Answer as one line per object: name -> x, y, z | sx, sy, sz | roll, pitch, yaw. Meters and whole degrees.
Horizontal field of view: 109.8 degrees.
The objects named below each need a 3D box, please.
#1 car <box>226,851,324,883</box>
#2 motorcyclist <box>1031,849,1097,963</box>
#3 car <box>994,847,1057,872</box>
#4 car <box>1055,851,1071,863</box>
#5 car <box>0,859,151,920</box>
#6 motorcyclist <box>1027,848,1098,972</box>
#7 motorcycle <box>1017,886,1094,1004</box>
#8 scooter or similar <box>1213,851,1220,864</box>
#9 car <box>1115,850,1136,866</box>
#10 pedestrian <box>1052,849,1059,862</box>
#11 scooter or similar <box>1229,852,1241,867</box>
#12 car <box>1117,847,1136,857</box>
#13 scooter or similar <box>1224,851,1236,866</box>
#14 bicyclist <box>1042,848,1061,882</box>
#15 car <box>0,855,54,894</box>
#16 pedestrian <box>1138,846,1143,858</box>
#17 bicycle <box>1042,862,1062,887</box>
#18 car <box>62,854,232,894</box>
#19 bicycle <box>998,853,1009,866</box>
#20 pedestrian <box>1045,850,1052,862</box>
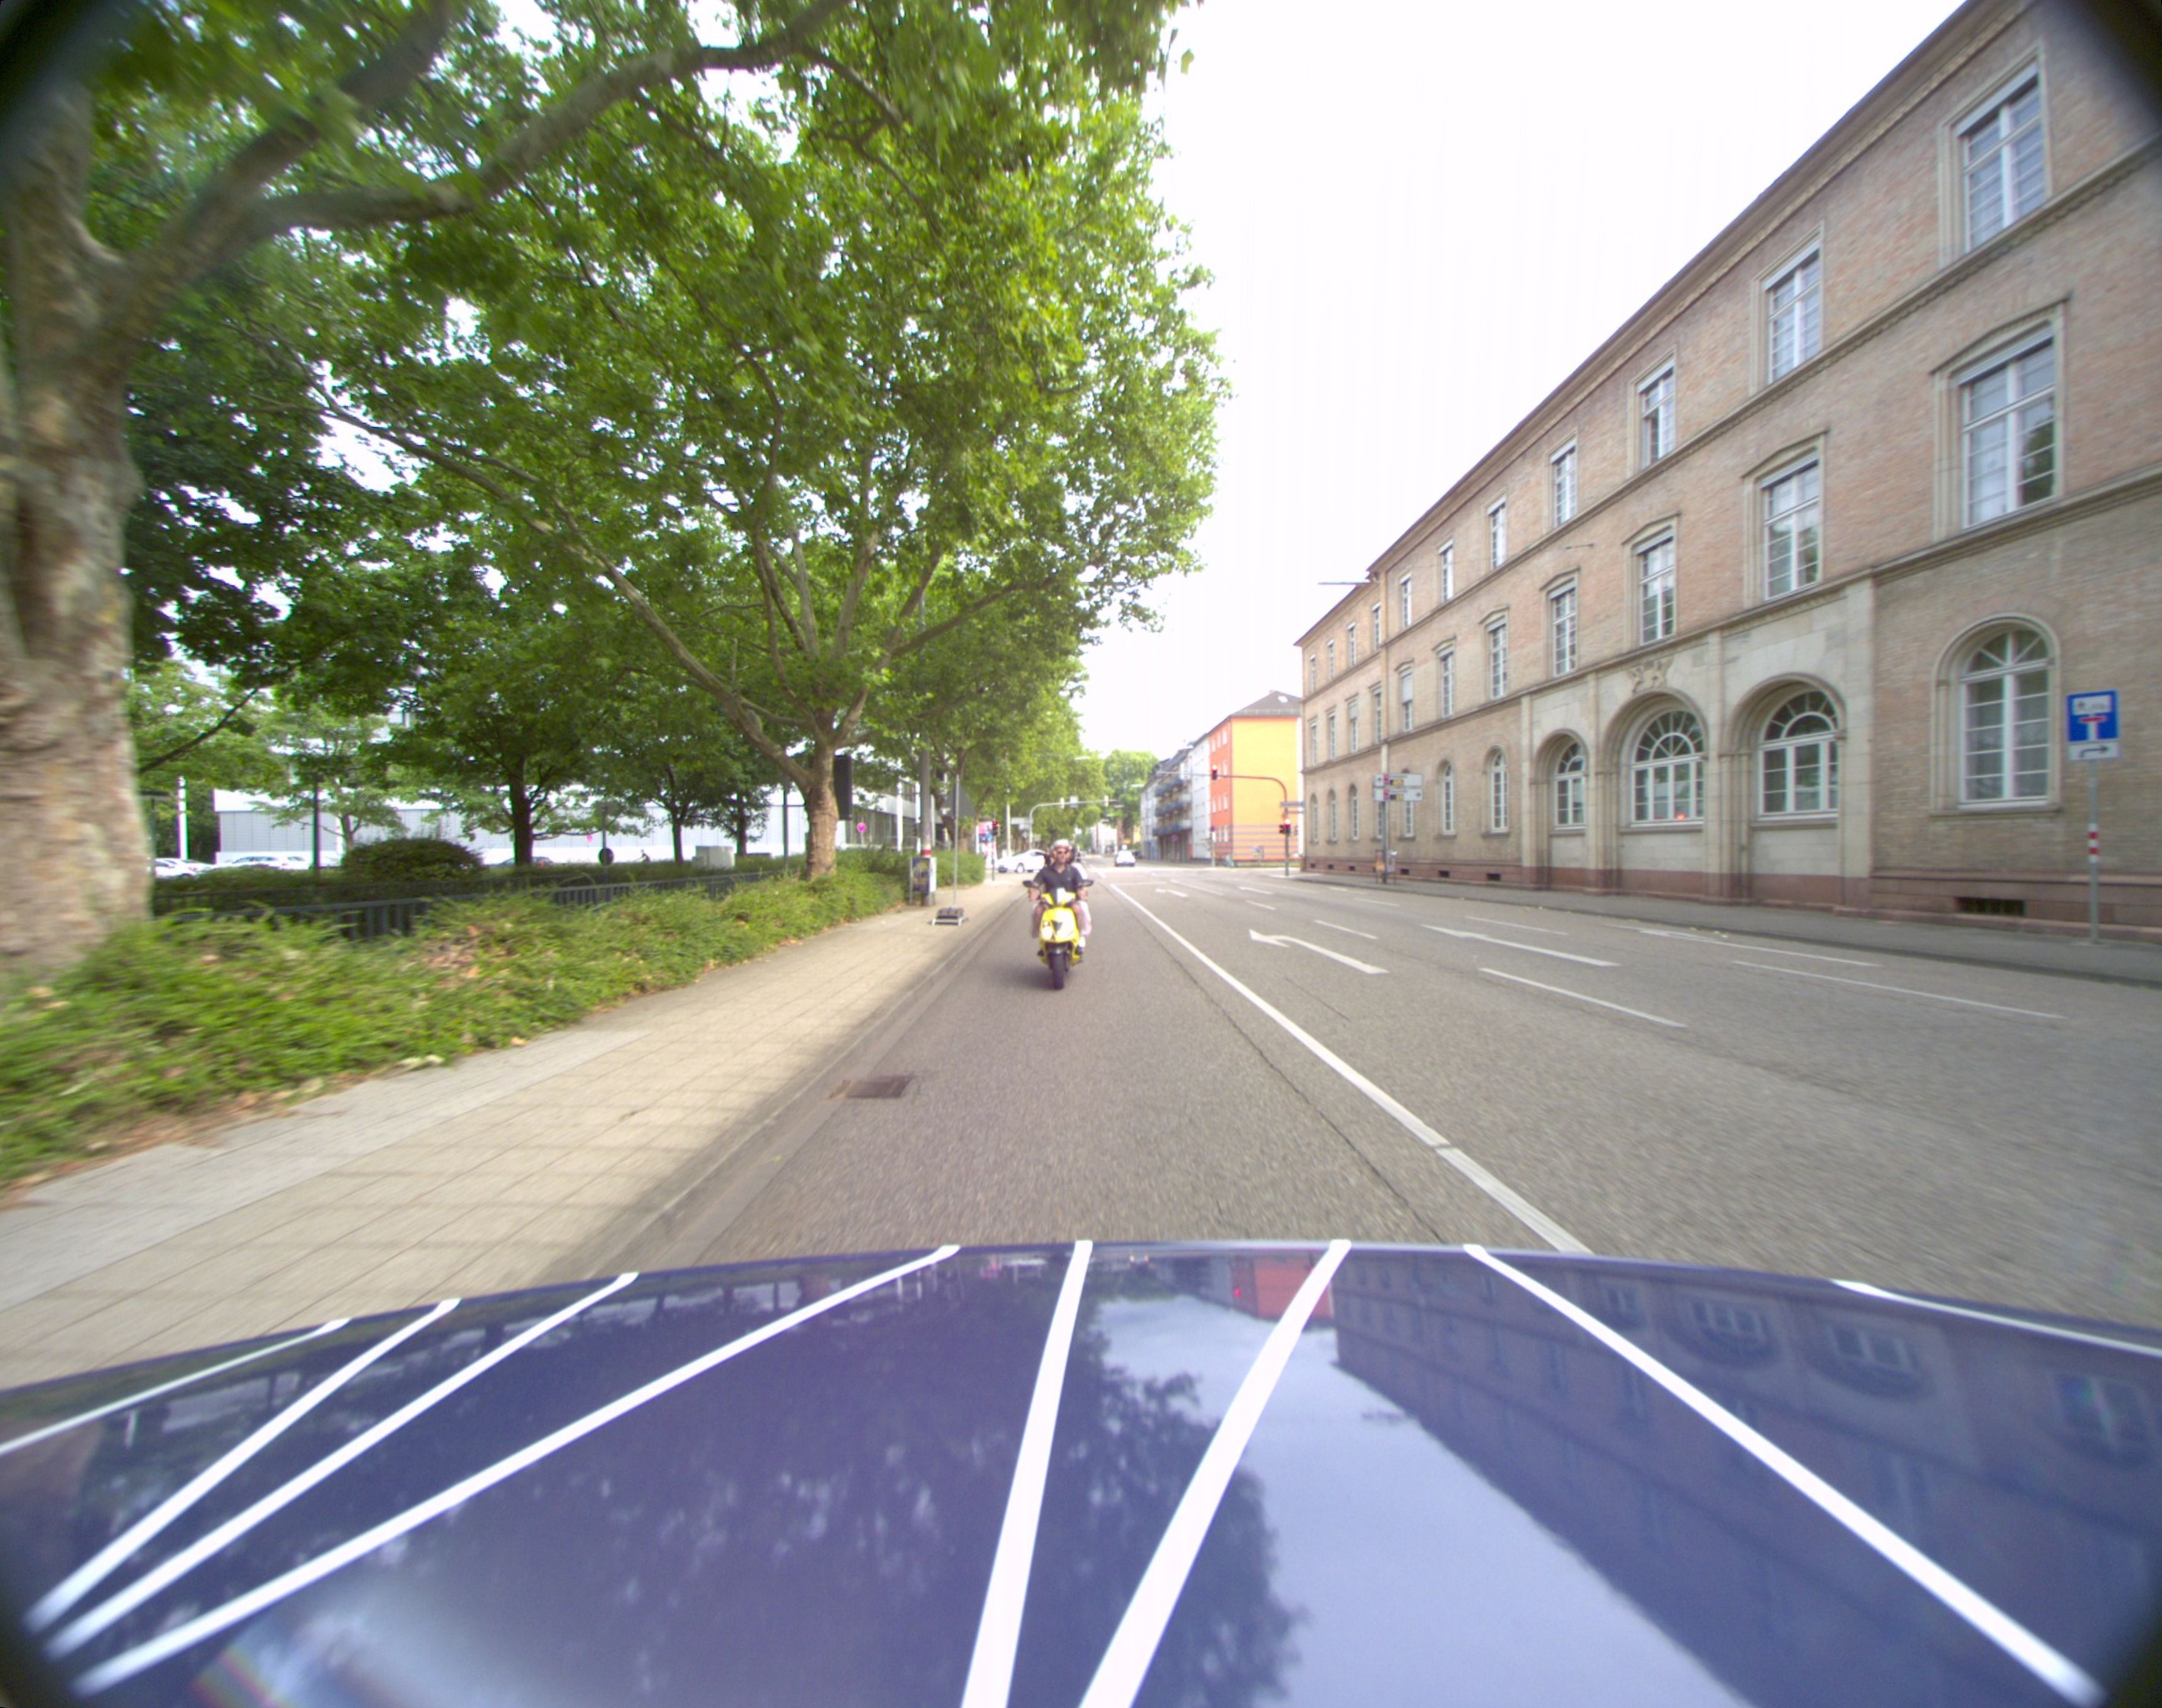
car -> -52.032, 0.841, 49.119 | 3.879, 1.850, 1.952 | -3, 0, -10
motorcyclist -> -0.210, 0.651, 9.888 | 0.781, 1.419, 0.688 | -2, 1, 2
car -> -3.933, 0.362, 54.457 | 1.995, 1.543, 4.530 | -2, 0, 36
car -> -2.510, 0.438, 109.095 | 1.998, 1.532, 4.271 | -3, 0, 1
car -> -33.307, 1.115, 24.013 | 1.999, 1.783, 4.771 | -3, 0, -4
motorcyclist -> -0.211, 0.651, 9.242 | 0.781, 1.419, 0.764 | -2, 1, 2
motorcycle -> -0.260, 1.041, 9.304 | 0.781, 1.171, 1.992 | -2, 1, 2
scooter or similar -> 11.984, 0.284, 67.276 | 0.369, 1.117, 1.354 | -3, 0, 0
car -> 4.220, 0.359, 72.166 | 1.673, 1.430, 3.819 | -1, 0, -1
pedestrian -> -4.218, 0.275, 124.628 | 1.003, 2.002, 0.997 | -3, 1, 1
scooter or similar -> 12.298, 0.436, 60.696 | 0.330, 1.151, 1.352 | -3, 0, -14
car -> 10.042, -0.499, 169.296 | 3.997, 2.002, 2.000 | -3, 0, -1
scooter or similar -> 11.856, 0.328, 60.503 | 0.330, 1.172, 1.341 | -3, 0, -14
bicyclist -> -1.299, 0.476, 33.365 | 0.784, 1.438, 0.914 | -3, 1, -3
car -> -51.084, 0.986, 34.678 | 1.999, 1.783, 4.771 | -3, 0, -3
pedestrian -> 10.583, -0.394, 135.973 | 0.842, 2.002, 0.875 | -2, 1, 3
bicycle -> -1.278, 0.875, 33.338 | 0.771, 1.009, 2.407 | -3, 0, -4
car -> -43.593, 0.875, 35.678 | 1.998, 1.621, 4.773 | -3, 0, 1
bicycle -> -6.984, 0.469, 68.502 | 0.700, 1.162, 1.725 | -3, 0, 0
pedestrian -> -5.258, 0.352, 124.654 | 1.003, 2.002, 0.997 | -3, 1, 1
